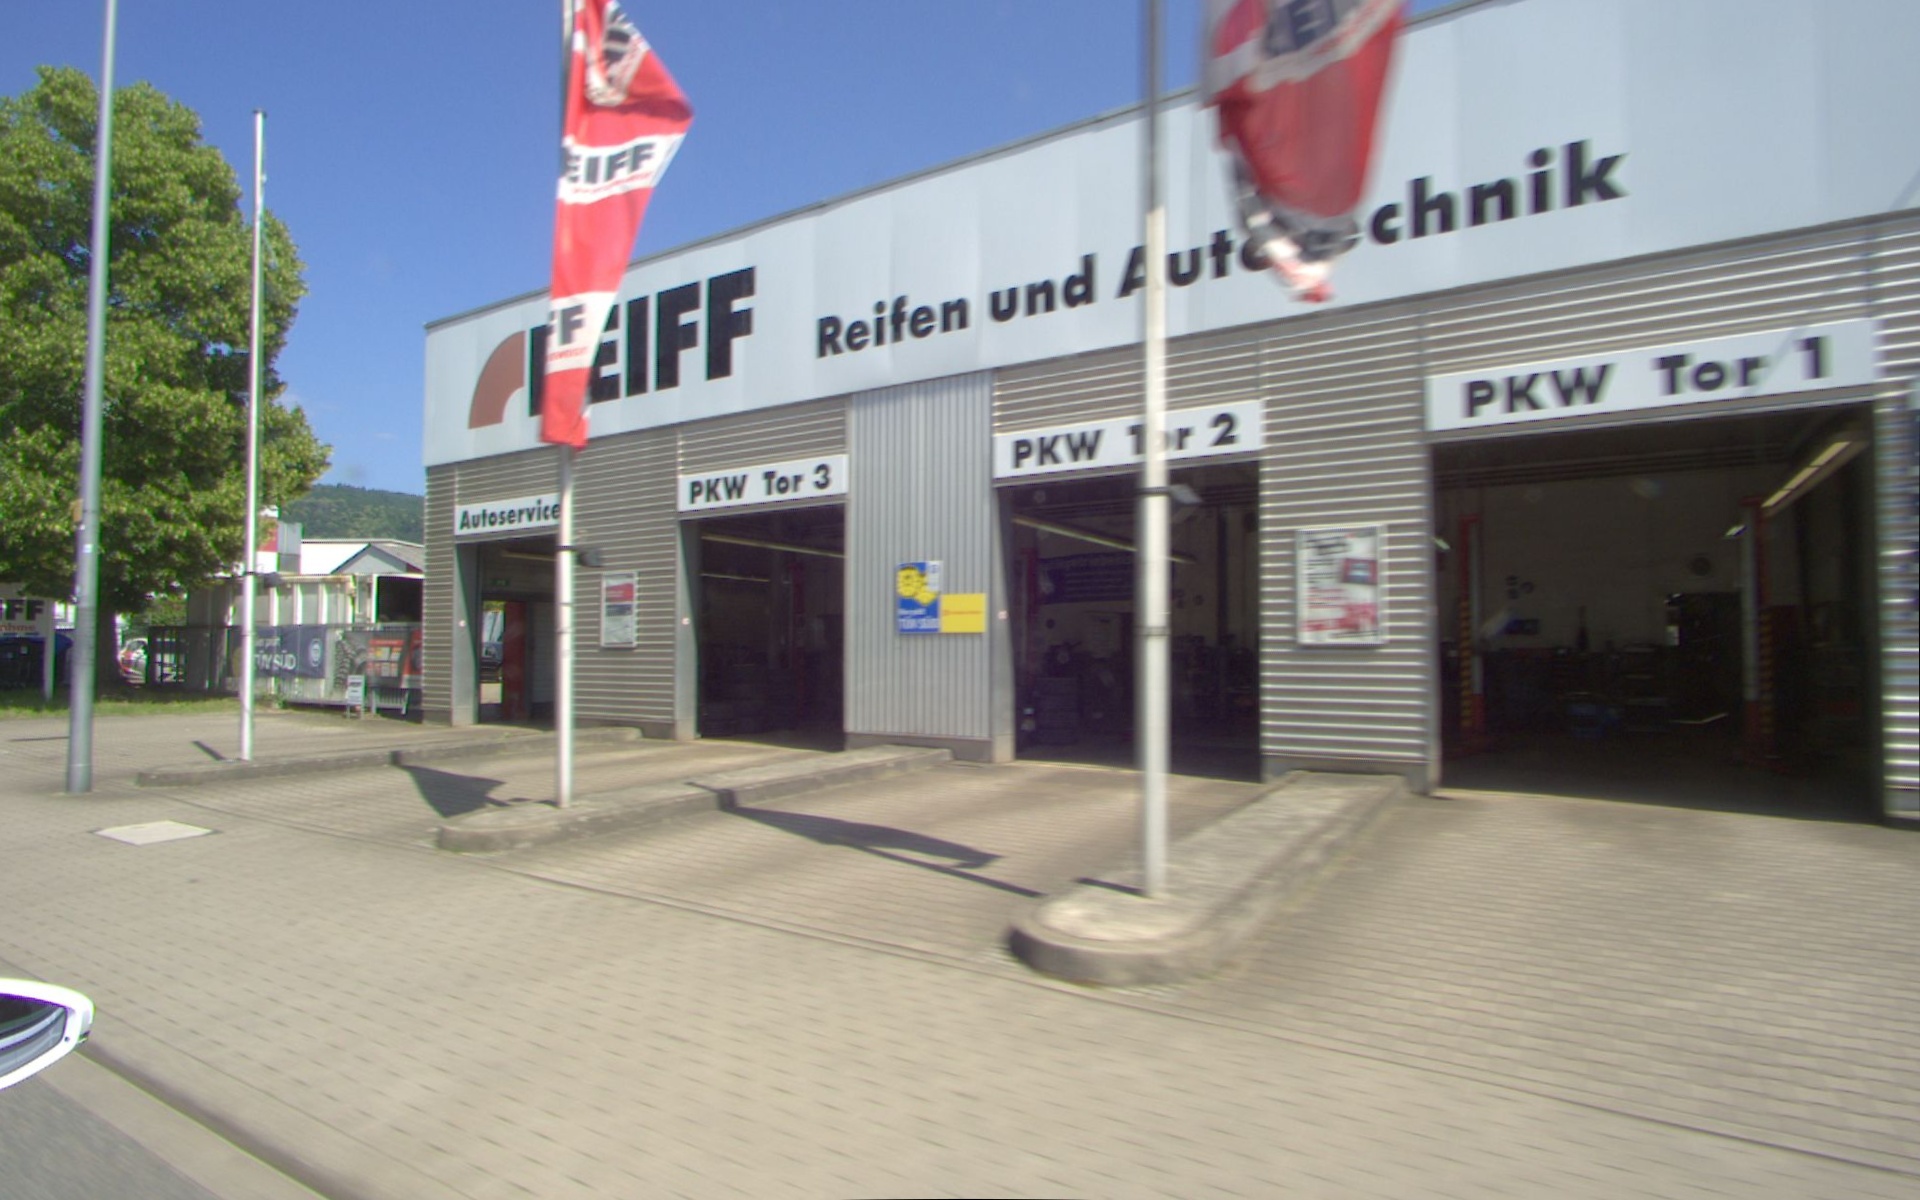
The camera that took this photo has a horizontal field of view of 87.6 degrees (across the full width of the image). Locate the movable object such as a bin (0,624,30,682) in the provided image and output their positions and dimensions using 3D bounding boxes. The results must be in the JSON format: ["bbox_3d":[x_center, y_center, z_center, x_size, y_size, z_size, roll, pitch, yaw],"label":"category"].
[{"bbox_3d":[-24.475,1.347,25.254,1.303,1.447,0.880,2,-4,-33],"label":"movable object such as a bin"}]

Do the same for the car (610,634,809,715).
[{"bbox_3d":[-4.771,1.404,19.571,1.698,1.393,3.762,0,-3,27],"label":"car"}]

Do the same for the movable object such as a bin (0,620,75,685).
[{"bbox_3d":[-22.867,1.318,24.823,1.301,1.565,0.978,-2,-4,29],"label":"movable object such as a bin"}]

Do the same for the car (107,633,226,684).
[{"bbox_3d":[-24.997,1.818,31.515,3.944,1.478,1.740,-1,-3,33],"label":"car"}]
